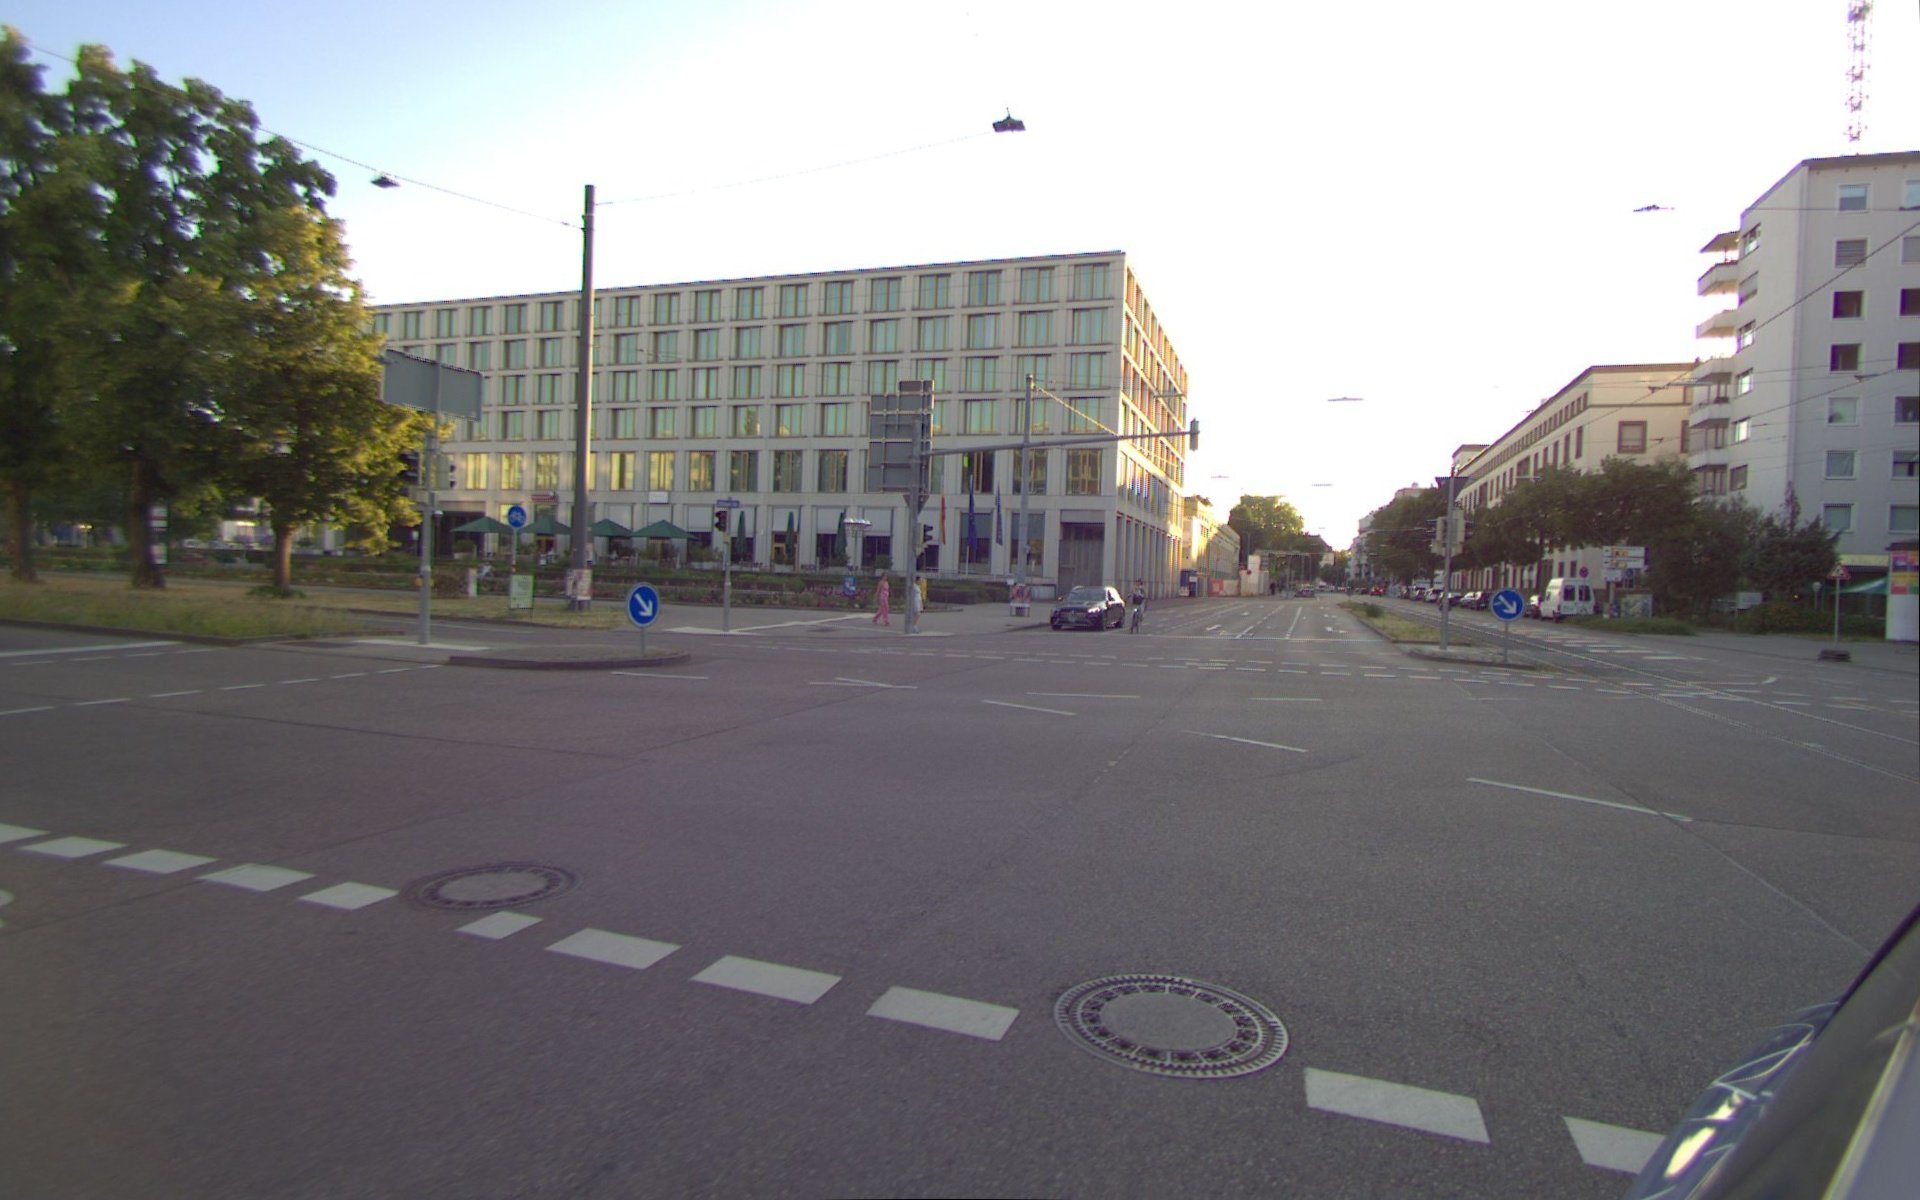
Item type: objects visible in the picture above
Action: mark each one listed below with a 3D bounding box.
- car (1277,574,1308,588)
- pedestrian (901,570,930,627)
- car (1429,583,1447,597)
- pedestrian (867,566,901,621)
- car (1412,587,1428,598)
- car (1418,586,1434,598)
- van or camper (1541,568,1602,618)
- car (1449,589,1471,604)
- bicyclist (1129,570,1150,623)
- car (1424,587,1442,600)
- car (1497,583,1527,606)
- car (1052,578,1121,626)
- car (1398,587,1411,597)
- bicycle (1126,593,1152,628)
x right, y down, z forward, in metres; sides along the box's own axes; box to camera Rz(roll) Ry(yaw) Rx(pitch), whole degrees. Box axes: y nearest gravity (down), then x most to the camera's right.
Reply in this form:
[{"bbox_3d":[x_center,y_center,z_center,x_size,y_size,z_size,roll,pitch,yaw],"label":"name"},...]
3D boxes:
[{"bbox_3d":[43.130,-2.406,131.236,3.762,1.669,1.852,2,1,20],"label":"car"},{"bbox_3d":[-1.321,-0.061,29.865,0.624,1.646,0.530,3,1,37],"label":"pedestrian"},{"bbox_3d":[56.435,-1.158,119.457,1.705,1.505,3.780,3,2,23],"label":"car"},{"bbox_3d":[-2.360,-0.207,31.468,0.713,1.646,0.738,1,1,-38],"label":"pedestrian"},{"bbox_3d":[63.090,-1.047,138.818,1.704,1.448,3.781,2,2,22],"label":"car"},{"bbox_3d":[61.313,-1.060,133.102,1.705,1.505,3.780,3,2,23],"label":"car"},{"bbox_3d":[35.269,-0.420,58.463,2.087,2.714,4.678,2,2,21],"label":"van or camper"},{"bbox_3d":[50.185,-0.359,101.628,1.704,1.448,3.781,2,2,22],"label":"car"},{"bbox_3d":[5.793,-0.121,32.703,0.534,1.656,0.593,2,1,20],"label":"bicyclist"},{"bbox_3d":[56.091,-0.765,119.940,1.704,1.448,3.781,2,2,22],"label":"car"},{"bbox_3d":[44.165,-0.434,81.079,1.705,1.725,3.780,3,2,23],"label":"car"},{"bbox_3d":[4.512,0.015,35.503,1.791,1.542,4.788,0,1,15],"label":"car"},{"bbox_3d":[67.100,-1.262,152.711,1.704,1.448,3.781,2,2,22],"label":"car"},{"bbox_3d":[5.805,0.336,32.762,0.534,1.064,1.749,2,1,20],"label":"bicycle"}]
